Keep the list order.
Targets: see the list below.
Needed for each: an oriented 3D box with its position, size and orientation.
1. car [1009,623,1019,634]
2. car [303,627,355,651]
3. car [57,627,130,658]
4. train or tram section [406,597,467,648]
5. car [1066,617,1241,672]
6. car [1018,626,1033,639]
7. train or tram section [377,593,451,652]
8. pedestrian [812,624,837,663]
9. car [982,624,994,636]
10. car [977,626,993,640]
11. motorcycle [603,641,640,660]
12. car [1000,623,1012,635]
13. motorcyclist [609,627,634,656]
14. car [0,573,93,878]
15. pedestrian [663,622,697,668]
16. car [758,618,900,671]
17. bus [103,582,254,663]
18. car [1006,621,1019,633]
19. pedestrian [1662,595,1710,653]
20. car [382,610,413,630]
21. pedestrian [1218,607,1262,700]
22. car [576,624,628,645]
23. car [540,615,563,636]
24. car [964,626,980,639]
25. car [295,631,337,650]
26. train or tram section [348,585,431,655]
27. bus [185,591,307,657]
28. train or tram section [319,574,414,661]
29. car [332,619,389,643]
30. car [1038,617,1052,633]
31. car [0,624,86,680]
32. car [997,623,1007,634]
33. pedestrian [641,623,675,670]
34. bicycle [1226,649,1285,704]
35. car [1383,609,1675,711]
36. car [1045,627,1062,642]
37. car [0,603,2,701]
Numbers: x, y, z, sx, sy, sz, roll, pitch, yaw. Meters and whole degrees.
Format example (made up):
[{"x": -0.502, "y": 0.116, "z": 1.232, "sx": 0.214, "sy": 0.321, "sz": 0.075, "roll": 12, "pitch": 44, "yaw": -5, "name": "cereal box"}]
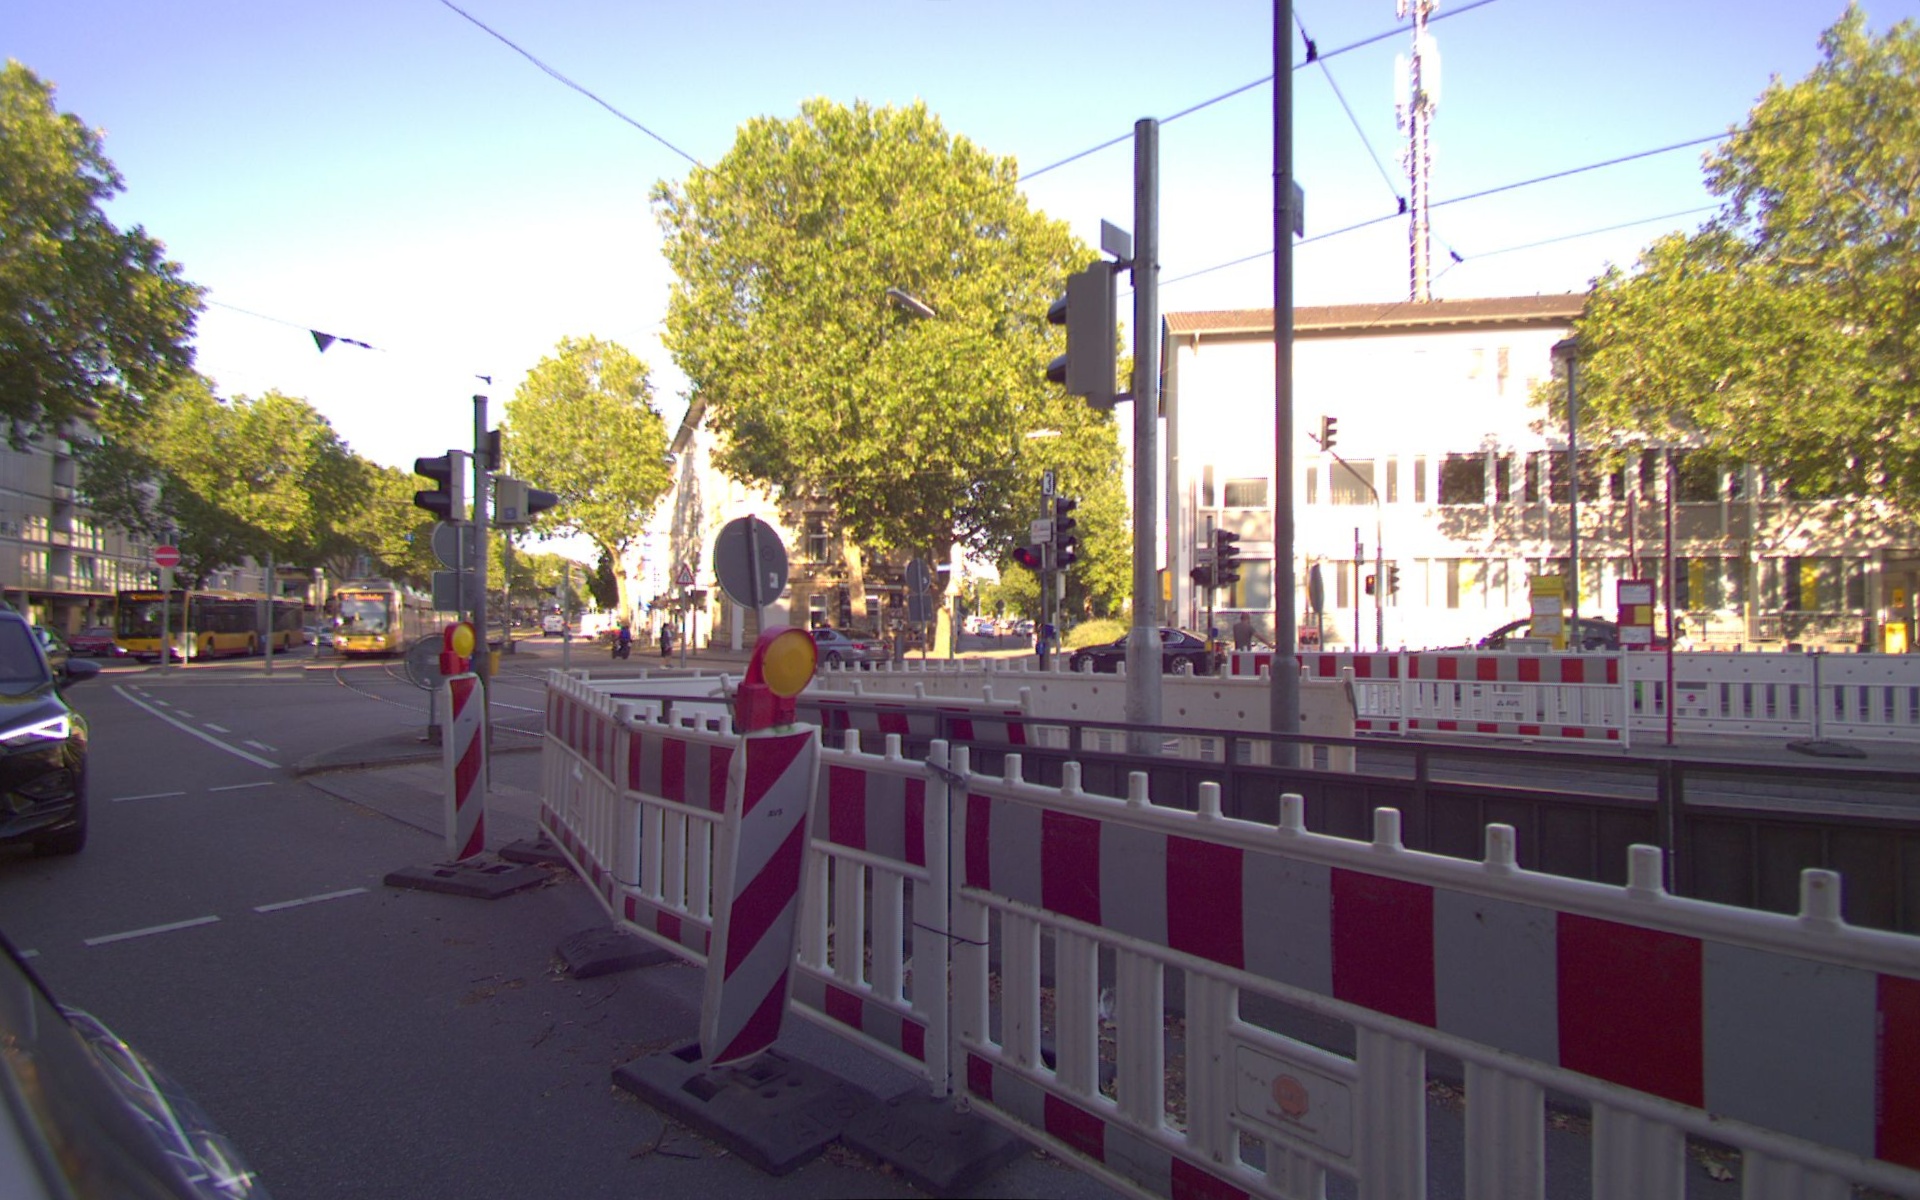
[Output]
[{"x": 10.569, "y": 5.570, "z": 198.940, "sx": 1.828, "sy": 2.031, "sz": 3.995, "roll": 0, "pitch": -2, "yaw": 4, "name": "car"}, {"x": -41.891, "y": 2.557, "z": 67.285, "sx": 1.880, "sy": 1.487, "sz": 4.431, "roll": 1, "pitch": -1, "yaw": -18, "name": "car"}, {"x": -43.020, "y": 2.112, "z": 50.344, "sx": 1.624, "sy": 1.483, "sz": 3.720, "roll": 0, "pitch": -2, "yaw": -22, "name": "car"}, {"x": -38.742, "y": 1.716, "z": 75.229, "sx": 2.795, "sy": 3.514, "sz": 10.371, "roll": 0, "pitch": -2, "yaw": -20, "name": "train or tram section"}, {"x": 5.532, "y": 1.297, "z": 29.184, "sx": 4.528, "sy": 1.459, "sz": 1.976, "roll": -2, "pitch": -3, "yaw": 36, "name": "car"}, {"x": 7.776, "y": 3.846, "z": 119.793, "sx": 1.705, "sy": 1.505, "sz": 3.995, "roll": 0, "pitch": -2, "yaw": 4, "name": "car"}, {"x": -35.137, "y": 1.447, "z": 65.491, "sx": 2.830, "sy": 3.514, "sz": 10.371, "roll": 0, "pitch": -2, "yaw": -21, "name": "train or tram section"}, {"x": -6.263, "y": 1.994, "z": 46.745, "sx": 0.801, "sy": 1.769, "sz": 0.787, "roll": -2, "pitch": -2, "yaw": 40, "name": "pedestrian"}, {"x": 4.774, "y": 5.058, "z": 171.431, "sx": 1.828, "sy": 2.031, "sz": 3.995, "roll": 0, "pitch": -2, "yaw": 4, "name": "car"}, {"x": 2.825, "y": 3.730, "z": 114.554, "sx": 1.705, "sy": 1.505, "sz": 3.995, "roll": 0, "pitch": -2, "yaw": 4, "name": "car"}, {"x": -15.883, "y": 2.370, "z": 47.462, "sx": 1.993, "sy": 0.814, "sz": 0.674, "roll": -1, "pitch": -1, "yaw": 39, "name": "motorcycle"}, {"x": 6.813, "y": 4.302, "z": 149.705, "sx": 1.705, "sy": 1.636, "sz": 3.995, "roll": 0, "pitch": -2, "yaw": 4, "name": "car"}, {"x": -15.882, "y": 1.924, "z": 47.463, "sx": 0.983, "sy": 1.325, "sz": 0.674, "roll": -1, "pitch": -1, "yaw": 39, "name": "motorcyclist"}, {"x": -7.155, "y": 0.736, "z": 6.667, "sx": 4.300, "sy": 1.670, "sz": 1.823, "roll": -2, "pitch": -1, "yaw": 44, "name": "car"}, {"x": -9.482, "y": 1.511, "z": 34.291, "sx": 0.795, "sy": 1.520, "sz": 0.793, "roll": -1, "pitch": -2, "yaw": 17, "name": "pedestrian"}, {"x": -4.431, "y": 1.501, "z": 33.880, "sx": 4.680, "sy": 1.667, "sz": 1.930, "roll": -2, "pitch": -3, "yaw": 36, "name": "car"}, {"x": -33.506, "y": 1.024, "z": 43.888, "sx": 2.707, "sy": 3.127, "sz": 9.527, "roll": 1, "pitch": -2, "yaw": -22, "name": "bus"}, {"x": 6.952, "y": 3.560, "z": 134.270, "sx": 1.705, "sy": 1.505, "sz": 3.995, "roll": 0, "pitch": -2, "yaw": 4, "name": "car"}, {"x": 22.102, "y": 0.743, "z": 30.825, "sx": 0.875, "sy": 1.742, "sz": 0.806, "roll": -1, "pitch": -2, "yaw": 9, "name": "pedestrian"}, {"x": -52.792, "y": 1.864, "z": 95.021, "sx": 1.923, "sy": 1.791, "sz": 4.013, "roll": 1, "pitch": -1, "yaw": -20, "name": "car"}, {"x": 5.463, "y": 1.024, "z": 19.730, "sx": 0.588, "sy": 1.772, "sz": 0.597, "roll": 1, "pitch": -3, "yaw": -43, "name": "pedestrian"}, {"x": -33.971, "y": 3.281, "z": 96.232, "sx": 1.895, "sy": 1.991, "sz": 4.604, "roll": -1, "pitch": -2, "yaw": 29, "name": "car"}, {"x": -44.942, "y": 2.837, "z": 111.470, "sx": 2.131, "sy": 2.138, "sz": 4.994, "roll": 2, "pitch": -3, "yaw": -21, "name": "car"}, {"x": 1.433, "y": 3.828, "z": 120.513, "sx": 1.705, "sy": 1.505, "sz": 3.995, "roll": 0, "pitch": -2, "yaw": 4, "name": "car"}, {"x": -52.198, "y": 3.307, "z": 82.038, "sx": 1.201, "sy": 1.484, "sz": 2.592, "roll": -1, "pitch": -1, "yaw": 42, "name": "car"}, {"x": -31.227, "y": 1.124, "z": 55.816, "sx": 2.795, "sy": 3.514, "sz": 10.372, "roll": 0, "pitch": -2, "yaw": -23, "name": "train or tram section"}, {"x": -36.907, "y": 1.294, "z": 52.742, "sx": 2.707, "sy": 3.127, "sz": 9.527, "roll": 1, "pitch": -2, "yaw": -20, "name": "bus"}, {"x": -26.932, "y": 0.841, "z": 46.341, "sx": 2.776, "sy": 3.514, "sz": 10.372, "roll": 0, "pitch": -2, "yaw": -25, "name": "train or tram section"}, {"x": -61.617, "y": 3.130, "z": 104.096, "sx": 1.873, "sy": 2.394, "sz": 4.818, "roll": 0, "pitch": -1, "yaw": 30, "name": "car"}, {"x": 11.315, "y": 3.303, "z": 134.541, "sx": 1.828, "sy": 2.160, "sz": 3.995, "roll": 0, "pitch": -2, "yaw": 4, "name": "car"}, {"x": -26.370, "y": 1.473, "z": 28.985, "sx": 1.625, "sy": 1.483, "sz": 3.717, "roll": 1, "pitch": -2, "yaw": -35, "name": "car"}, {"x": 8.033, "y": 5.476, "z": 194.322, "sx": 1.828, "sy": 2.031, "sz": 3.995, "roll": 0, "pitch": -2, "yaw": 4, "name": "car"}, {"x": -10.010, "y": 1.540, "z": 33.578, "sx": 0.794, "sy": 1.520, "sz": 0.794, "roll": -1, "pitch": -2, "yaw": 12, "name": "pedestrian"}, {"x": 5.630, "y": 1.438, "z": 19.234, "sx": 1.558, "sy": 0.973, "sz": 0.322, "roll": 1, "pitch": -2, "yaw": -44, "name": "bicycle"}, {"x": 10.589, "y": 1.062, "z": 19.032, "sx": 4.576, "sy": 1.680, "sz": 1.879, "roll": -1, "pitch": -1, "yaw": 35, "name": "car"}, {"x": 9.896, "y": 3.638, "z": 107.349, "sx": 1.705, "sy": 1.505, "sz": 3.995, "roll": 0, "pitch": -2, "yaw": 4, "name": "car"}, {"x": -18.335, "y": 0.935, "z": 18.118, "sx": 1.719, "sy": 1.652, "sz": 4.302, "roll": 0, "pitch": -1, "yaw": -43, "name": "car"}]
